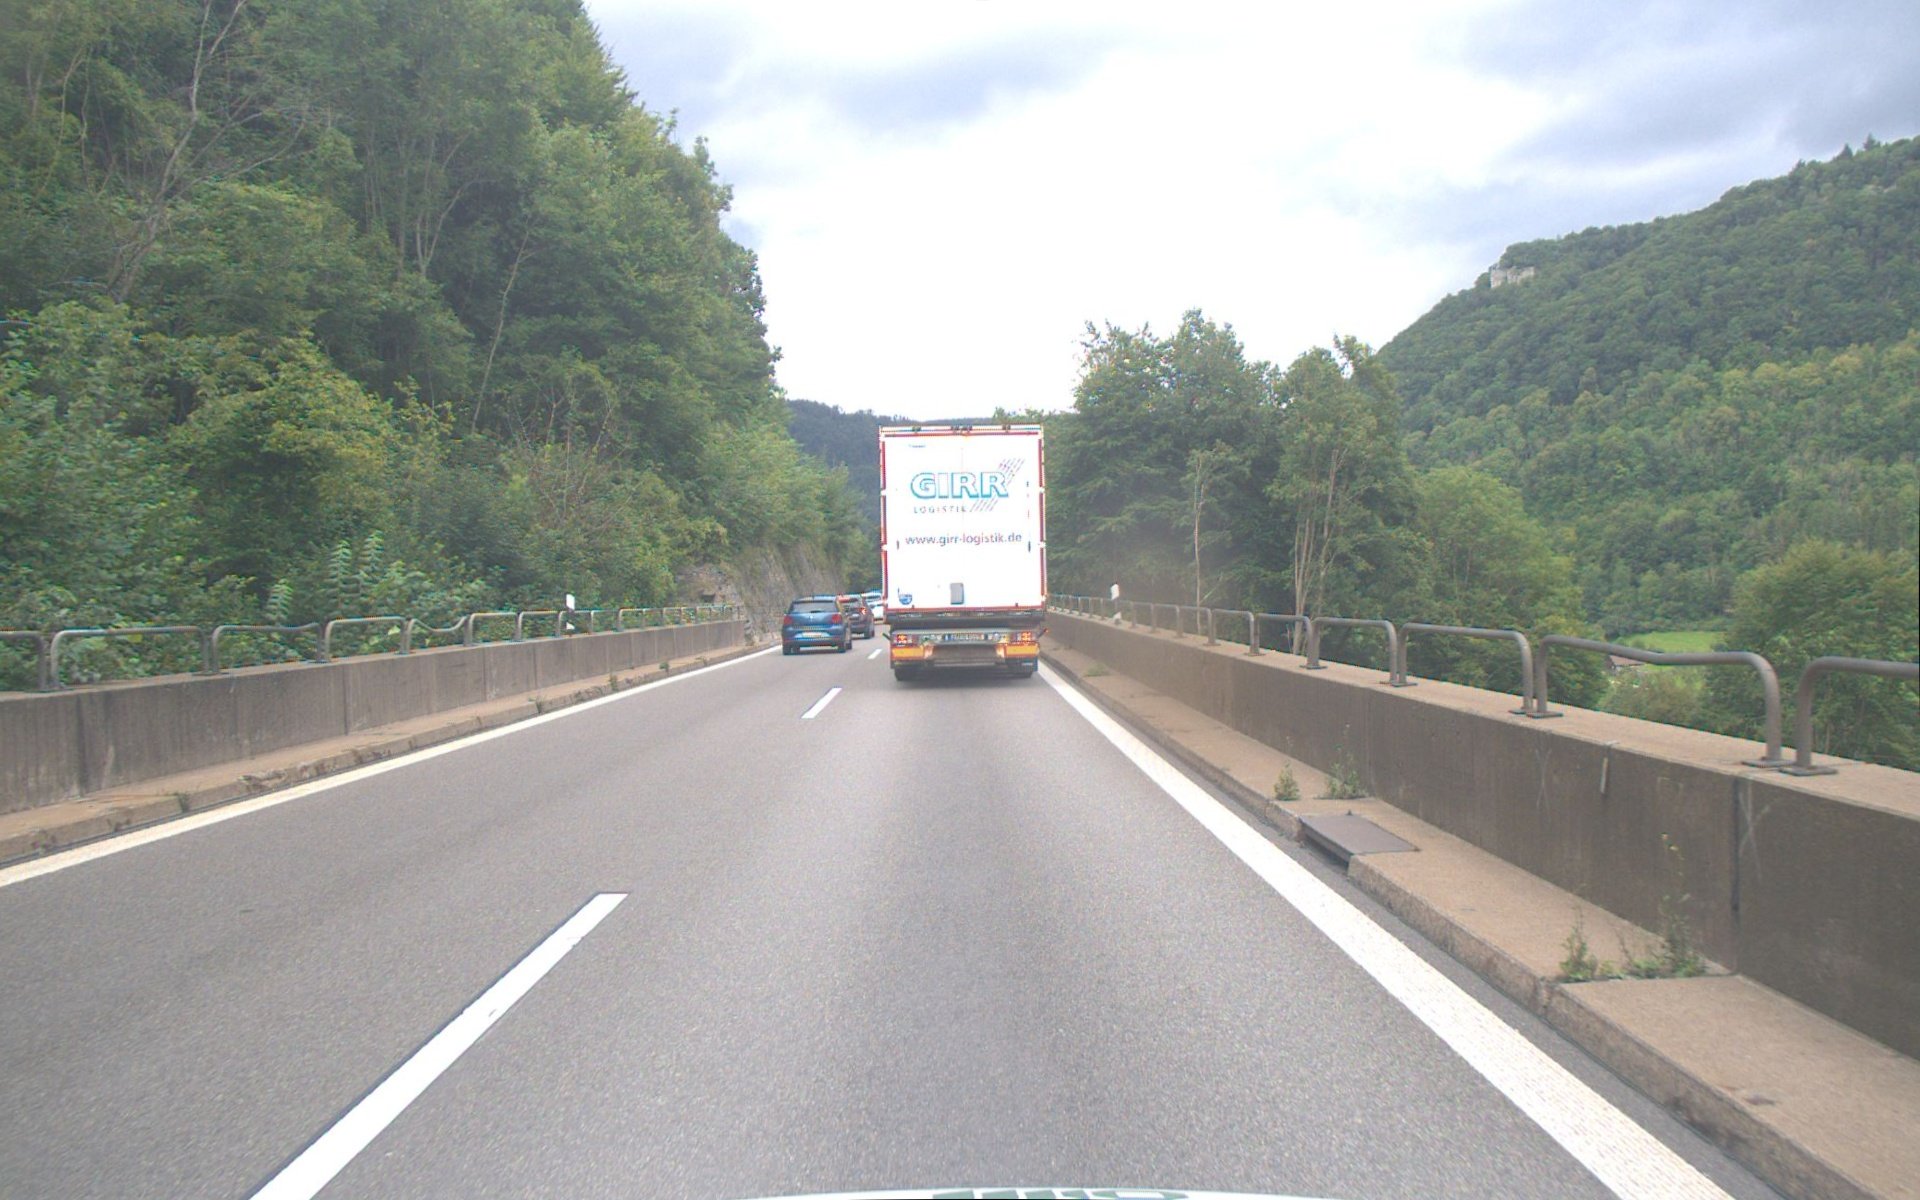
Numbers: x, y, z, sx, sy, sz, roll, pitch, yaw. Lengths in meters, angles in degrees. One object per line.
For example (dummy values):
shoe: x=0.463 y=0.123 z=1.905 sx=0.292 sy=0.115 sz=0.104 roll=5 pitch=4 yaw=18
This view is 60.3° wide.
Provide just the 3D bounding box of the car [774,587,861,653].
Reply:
car: x=-3.697 y=0.491 z=43.525 sx=1.953 sy=1.624 sz=4.353 roll=0 pitch=0 yaw=-1

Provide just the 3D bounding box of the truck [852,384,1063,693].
truck: x=-0.155 y=-1.008 z=32.529 sx=3.022 sy=4.541 sz=15.153 roll=-2 pitch=1 yaw=-1

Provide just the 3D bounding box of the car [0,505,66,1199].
car: x=-3.134 y=0.633 z=1.466 sx=1.953 sy=1.660 sz=5.008 roll=0 pitch=0 yaw=0

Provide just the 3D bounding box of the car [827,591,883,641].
car: x=-3.479 y=0.515 z=55.495 sx=1.710 sy=1.614 sz=3.999 roll=0 pitch=0 yaw=-2

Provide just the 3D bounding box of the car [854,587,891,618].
car: x=-4.385 y=0.164 z=83.263 sx=1.710 sy=1.512 sz=3.999 roll=0 pitch=-1 yaw=-1
